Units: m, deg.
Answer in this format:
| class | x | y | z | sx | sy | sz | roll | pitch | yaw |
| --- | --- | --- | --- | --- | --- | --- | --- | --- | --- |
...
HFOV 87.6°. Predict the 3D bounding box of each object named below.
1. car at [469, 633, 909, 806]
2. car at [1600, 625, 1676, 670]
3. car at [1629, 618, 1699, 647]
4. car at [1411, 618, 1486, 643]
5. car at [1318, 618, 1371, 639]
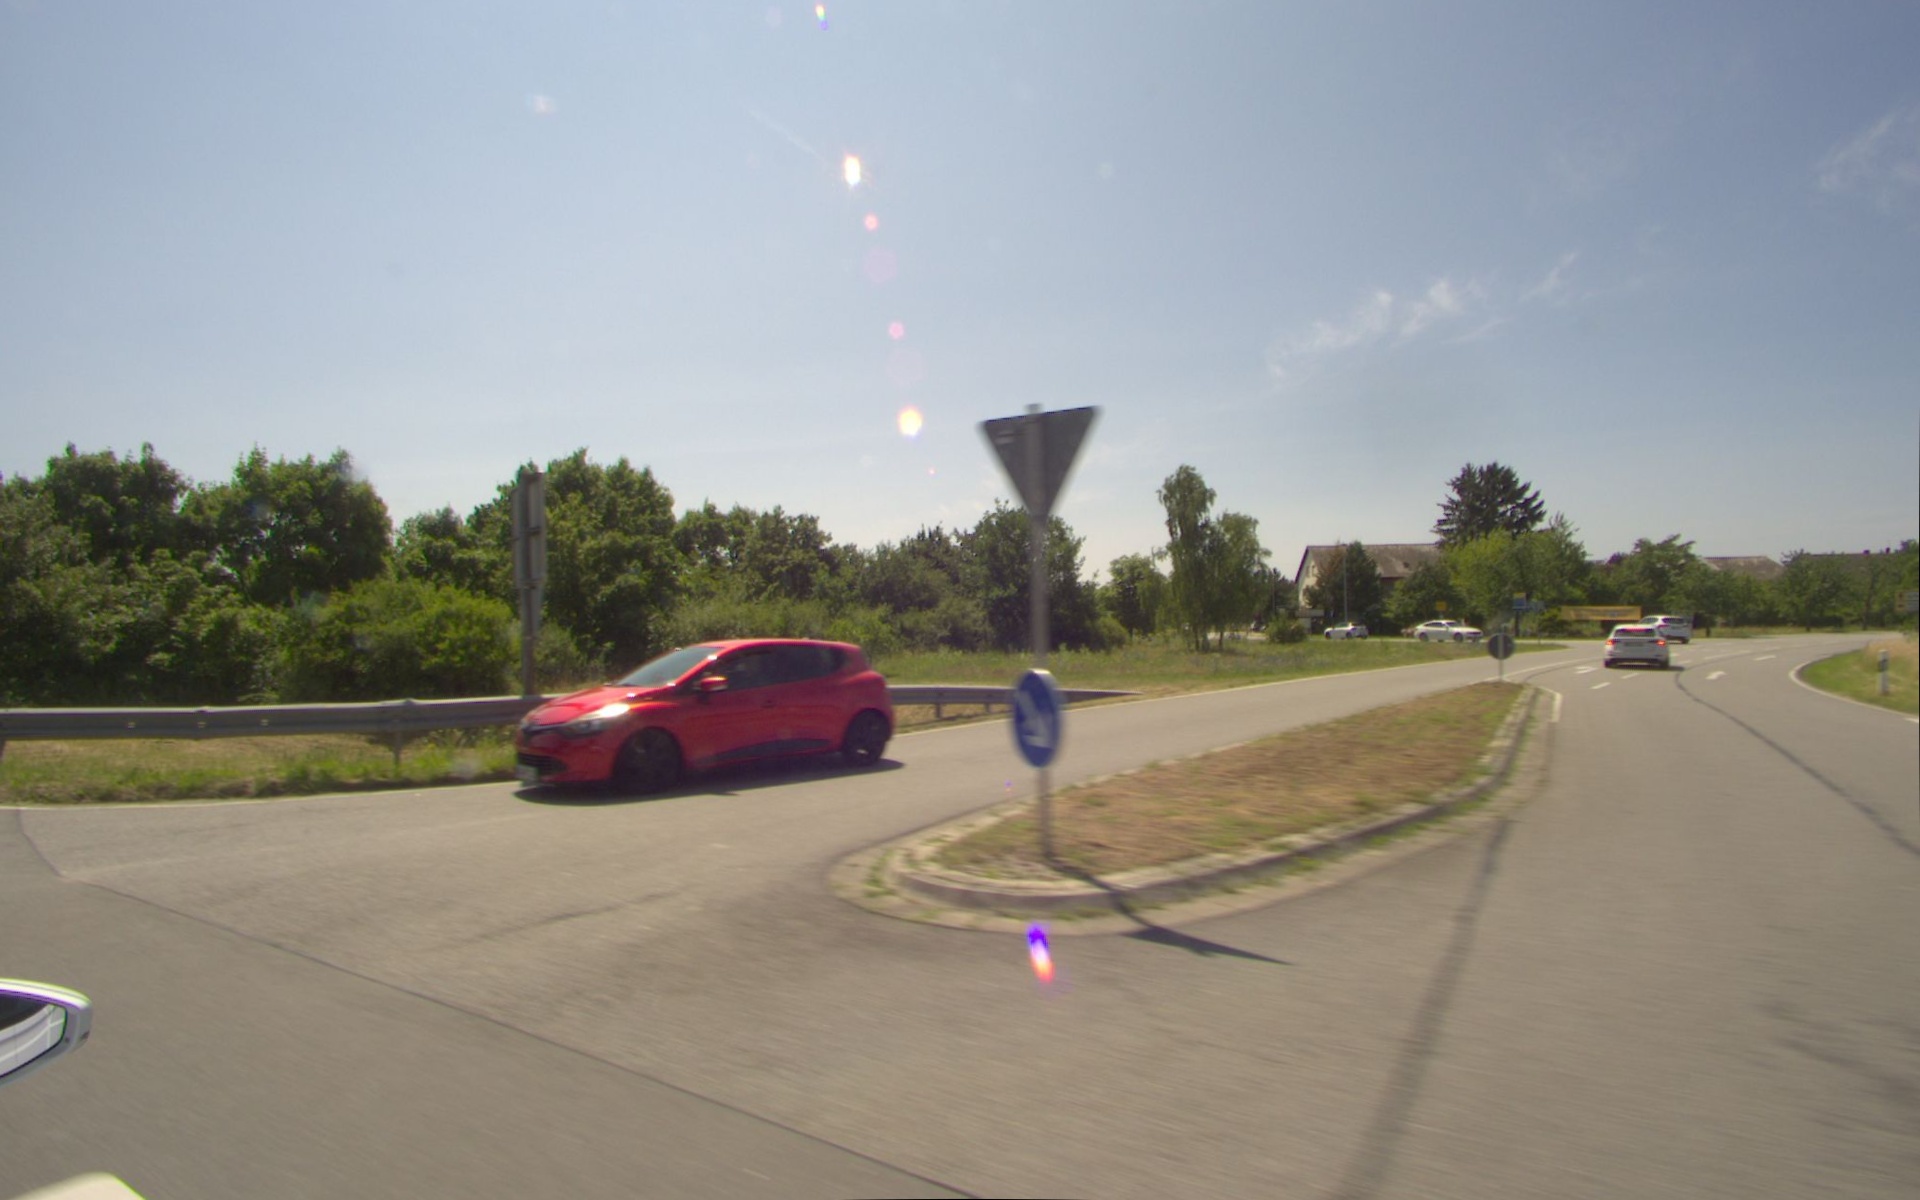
| class | x | y | z | sx | sy | sz | roll | pitch | yaw |
| --- | --- | --- | --- | --- | --- | --- | --- | --- | --- |
| car | -2.664 | 1.078 | 10.469 | 4.126 | 1.436 | 1.763 | 1 | -3 | -44 |
| car | 23.206 | 1.640 | 34.187 | 1.819 | 1.436 | 4.684 | -2 | -4 | 38 |
| car | 41.720 | 1.925 | 59.451 | 2.032 | 1.644 | 4.139 | -1 | -1 | 14 |
| car | 33.482 | 2.060 | 68.722 | 1.618 | 1.644 | 4.753 | 0 | -1 | -23 |
| car | 31.639 | 2.361 | 82.548 | 1.621 | 1.644 | 3.980 | 0 | -1 | -30 |
